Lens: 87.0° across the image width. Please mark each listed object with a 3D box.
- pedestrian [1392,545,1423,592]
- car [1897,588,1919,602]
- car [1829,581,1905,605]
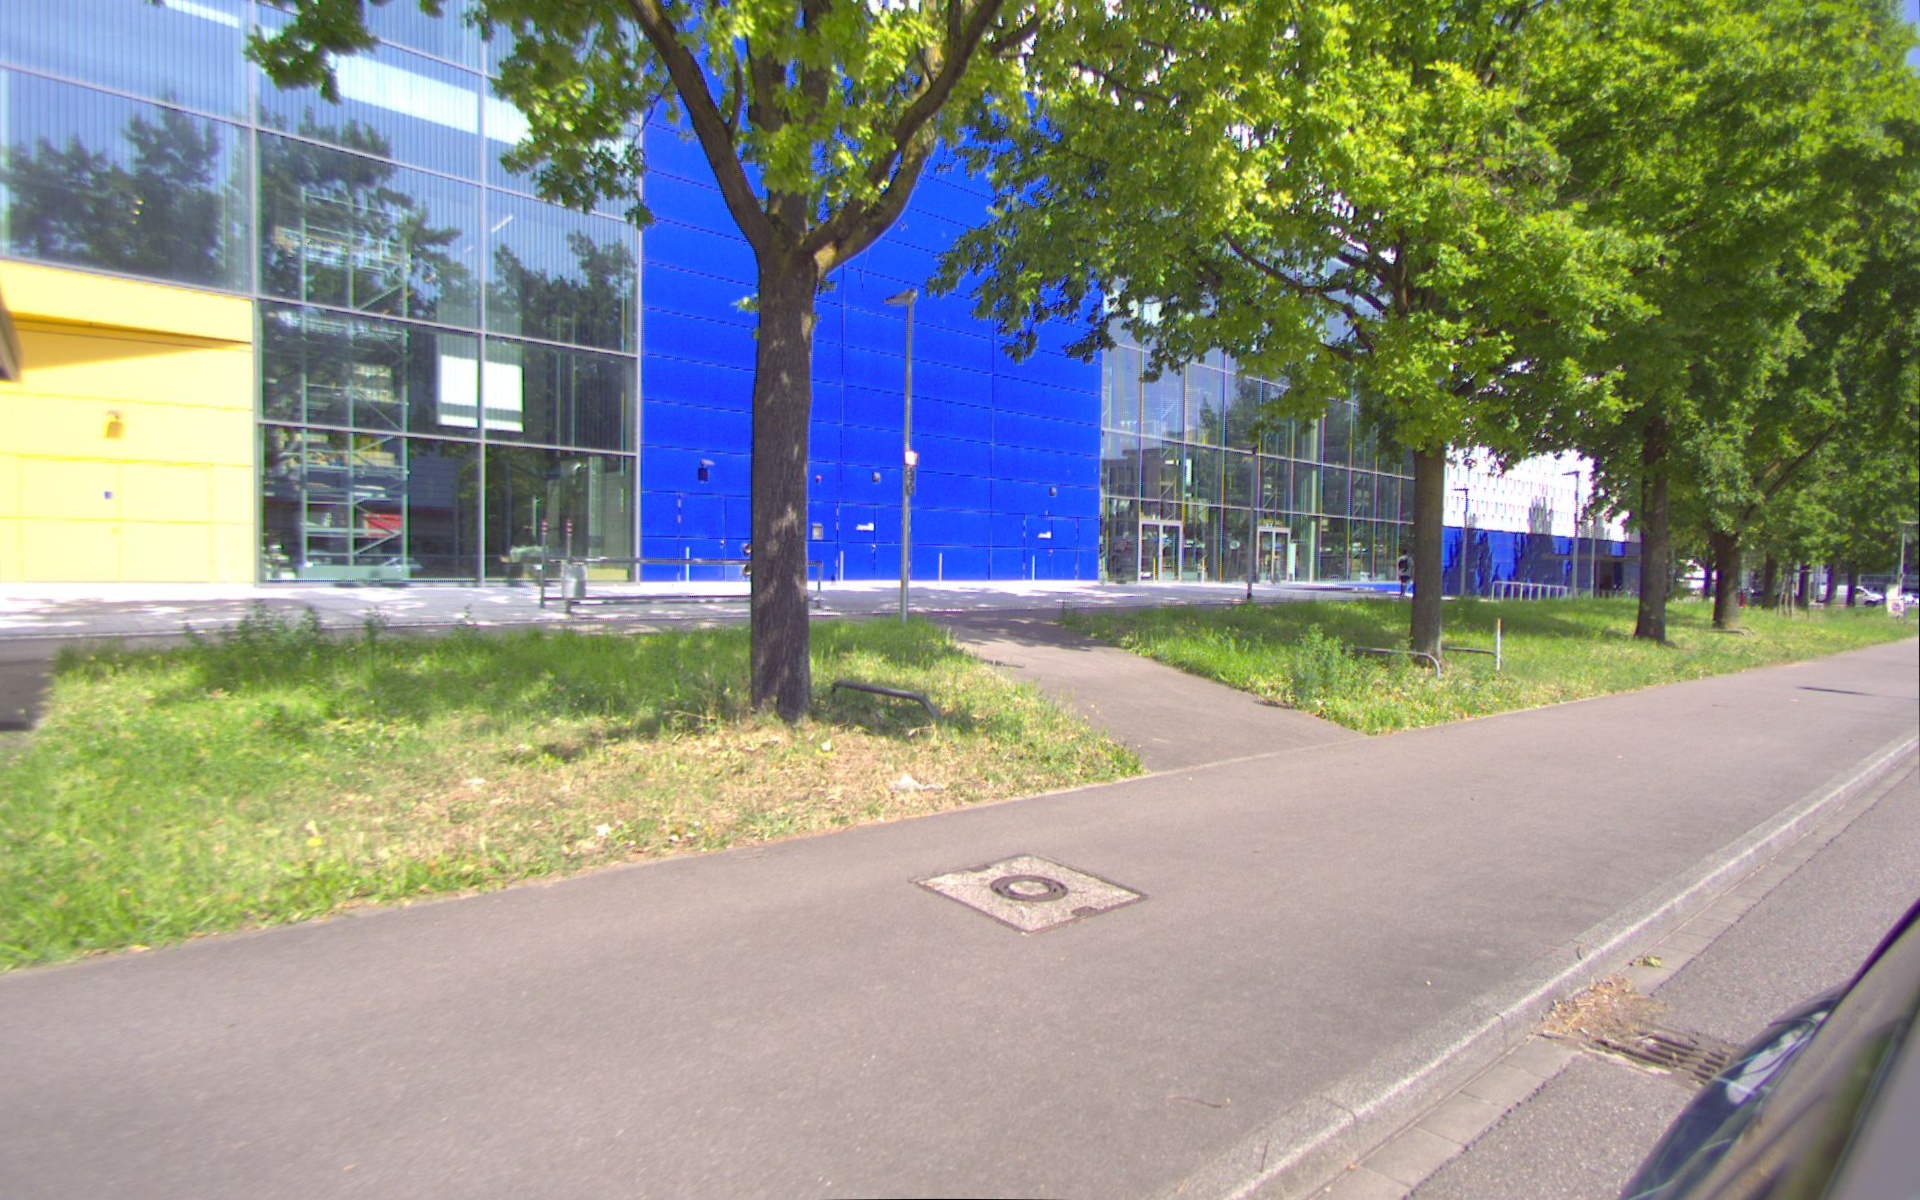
[{"bbox_3d":[15.697,-1.111,35.501,0.758,1.632,0.689,0,2,-44],"label":"pedestrian"},{"bbox_3d":[100.557,-0.502,106.907,4.043,1.440,2.001,0,-1,-42],"label":"car"},{"bbox_3d":[83.354,-0.661,93.049,1.711,2.032,4.993,-2,4,-41],"label":"car"}]
